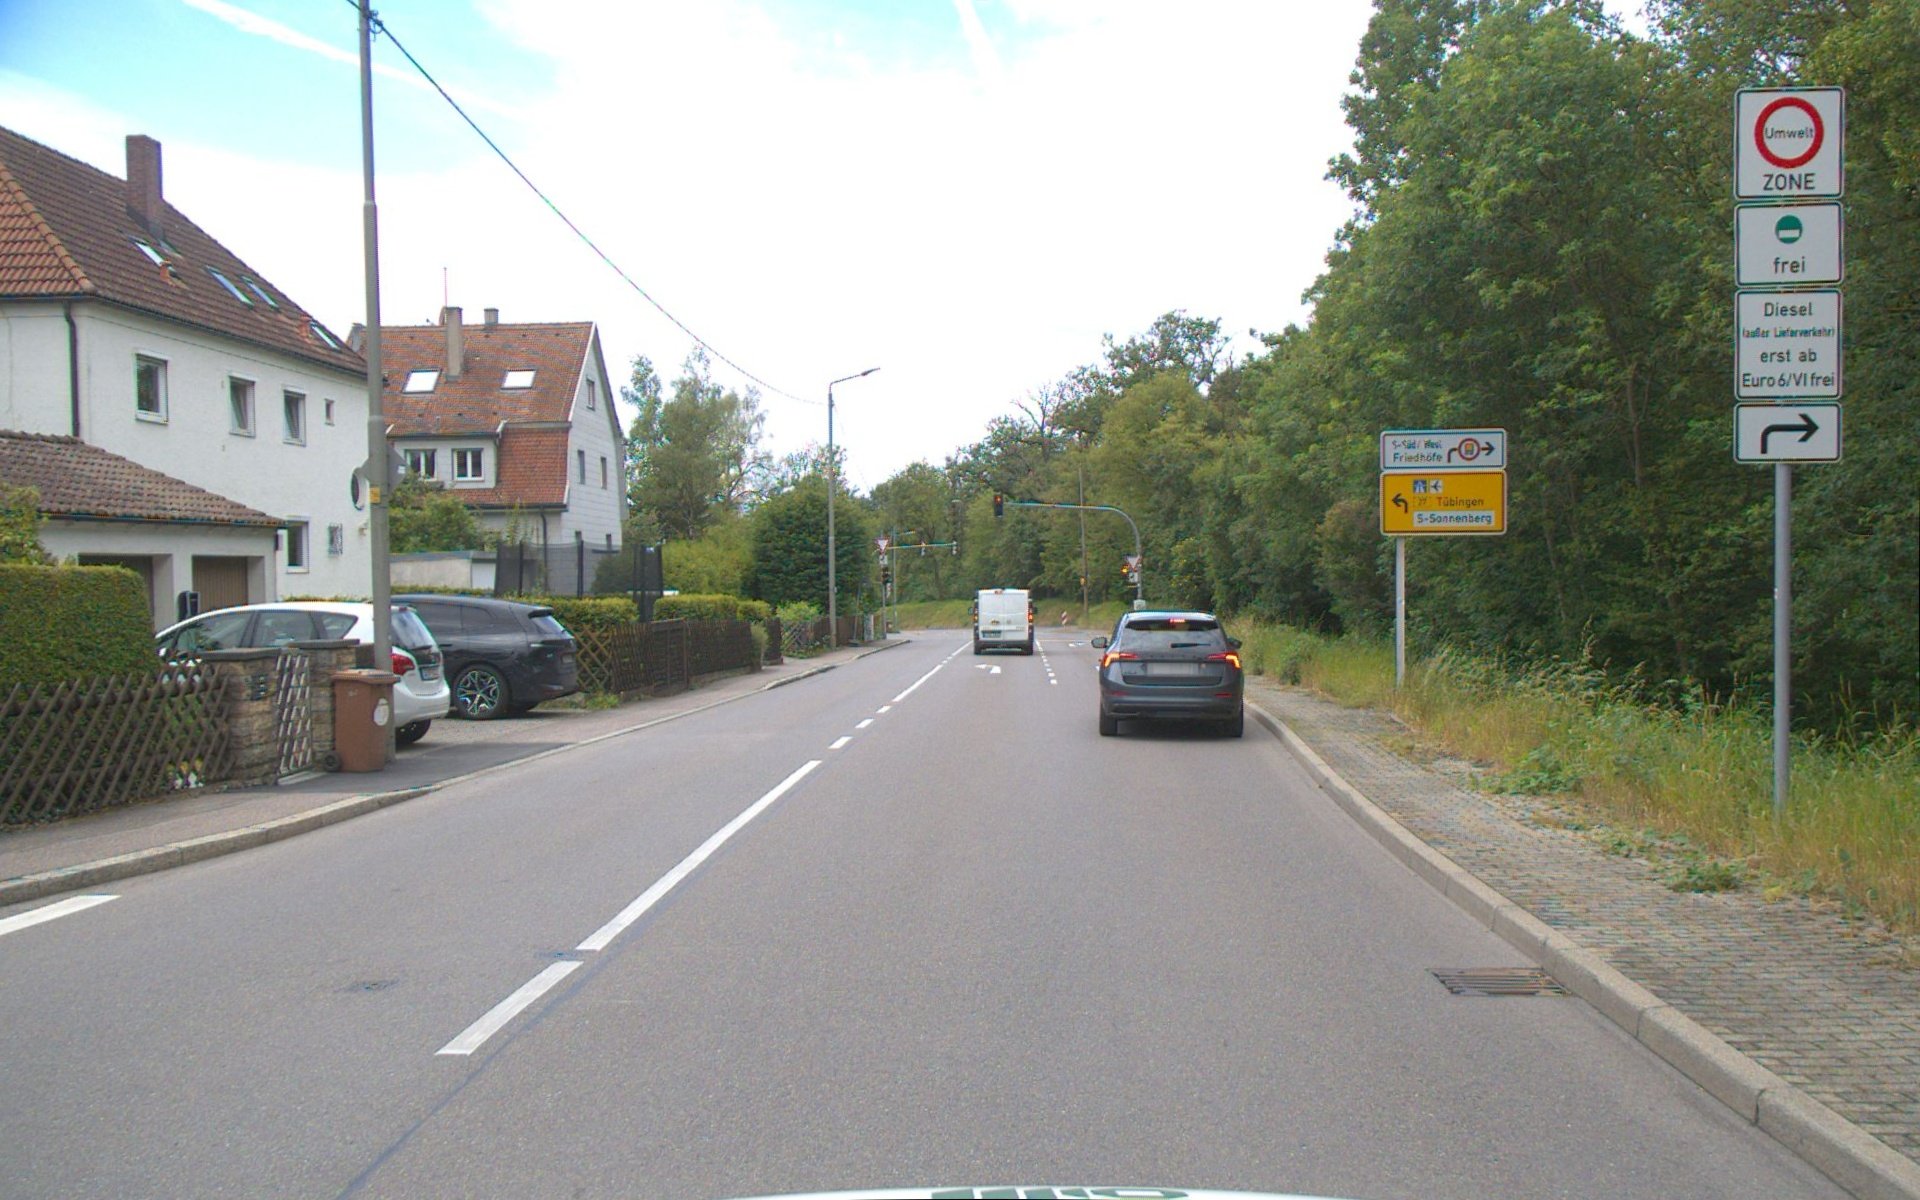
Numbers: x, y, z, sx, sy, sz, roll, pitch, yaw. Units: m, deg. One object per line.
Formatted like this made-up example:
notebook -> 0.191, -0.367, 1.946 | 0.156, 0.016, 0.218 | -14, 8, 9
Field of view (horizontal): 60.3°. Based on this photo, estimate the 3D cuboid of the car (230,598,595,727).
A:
car -> -7.768, 0.864, 23.778 | 4.574, 1.699, 1.883 | 1, 0, 1

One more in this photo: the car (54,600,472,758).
car -> -7.675, 0.843, 18.468 | 3.904, 1.622, 1.719 | 1, 0, 1

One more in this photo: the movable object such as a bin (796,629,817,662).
movable object such as a bin -> -4.629, 1.375, 49.946 | 0.539, 0.954, 0.538 | -1, 0, 3

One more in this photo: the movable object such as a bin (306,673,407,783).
movable object such as a bin -> -5.595, 1.178, 15.354 | 0.673, 0.970, 0.572 | -1, 0, 8

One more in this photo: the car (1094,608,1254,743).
car -> 2.639, 0.862, 20.634 | 1.754, 1.476, 4.003 | -1, 0, 7

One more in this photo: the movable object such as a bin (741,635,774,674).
movable object such as a bin -> -4.968, 1.330, 40.563 | 0.619, 0.929, 0.561 | 1, 0, 14

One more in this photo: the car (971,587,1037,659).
car -> 1.330, 0.700, 51.743 | 1.877, 2.089, 4.614 | -1, 0, 0
